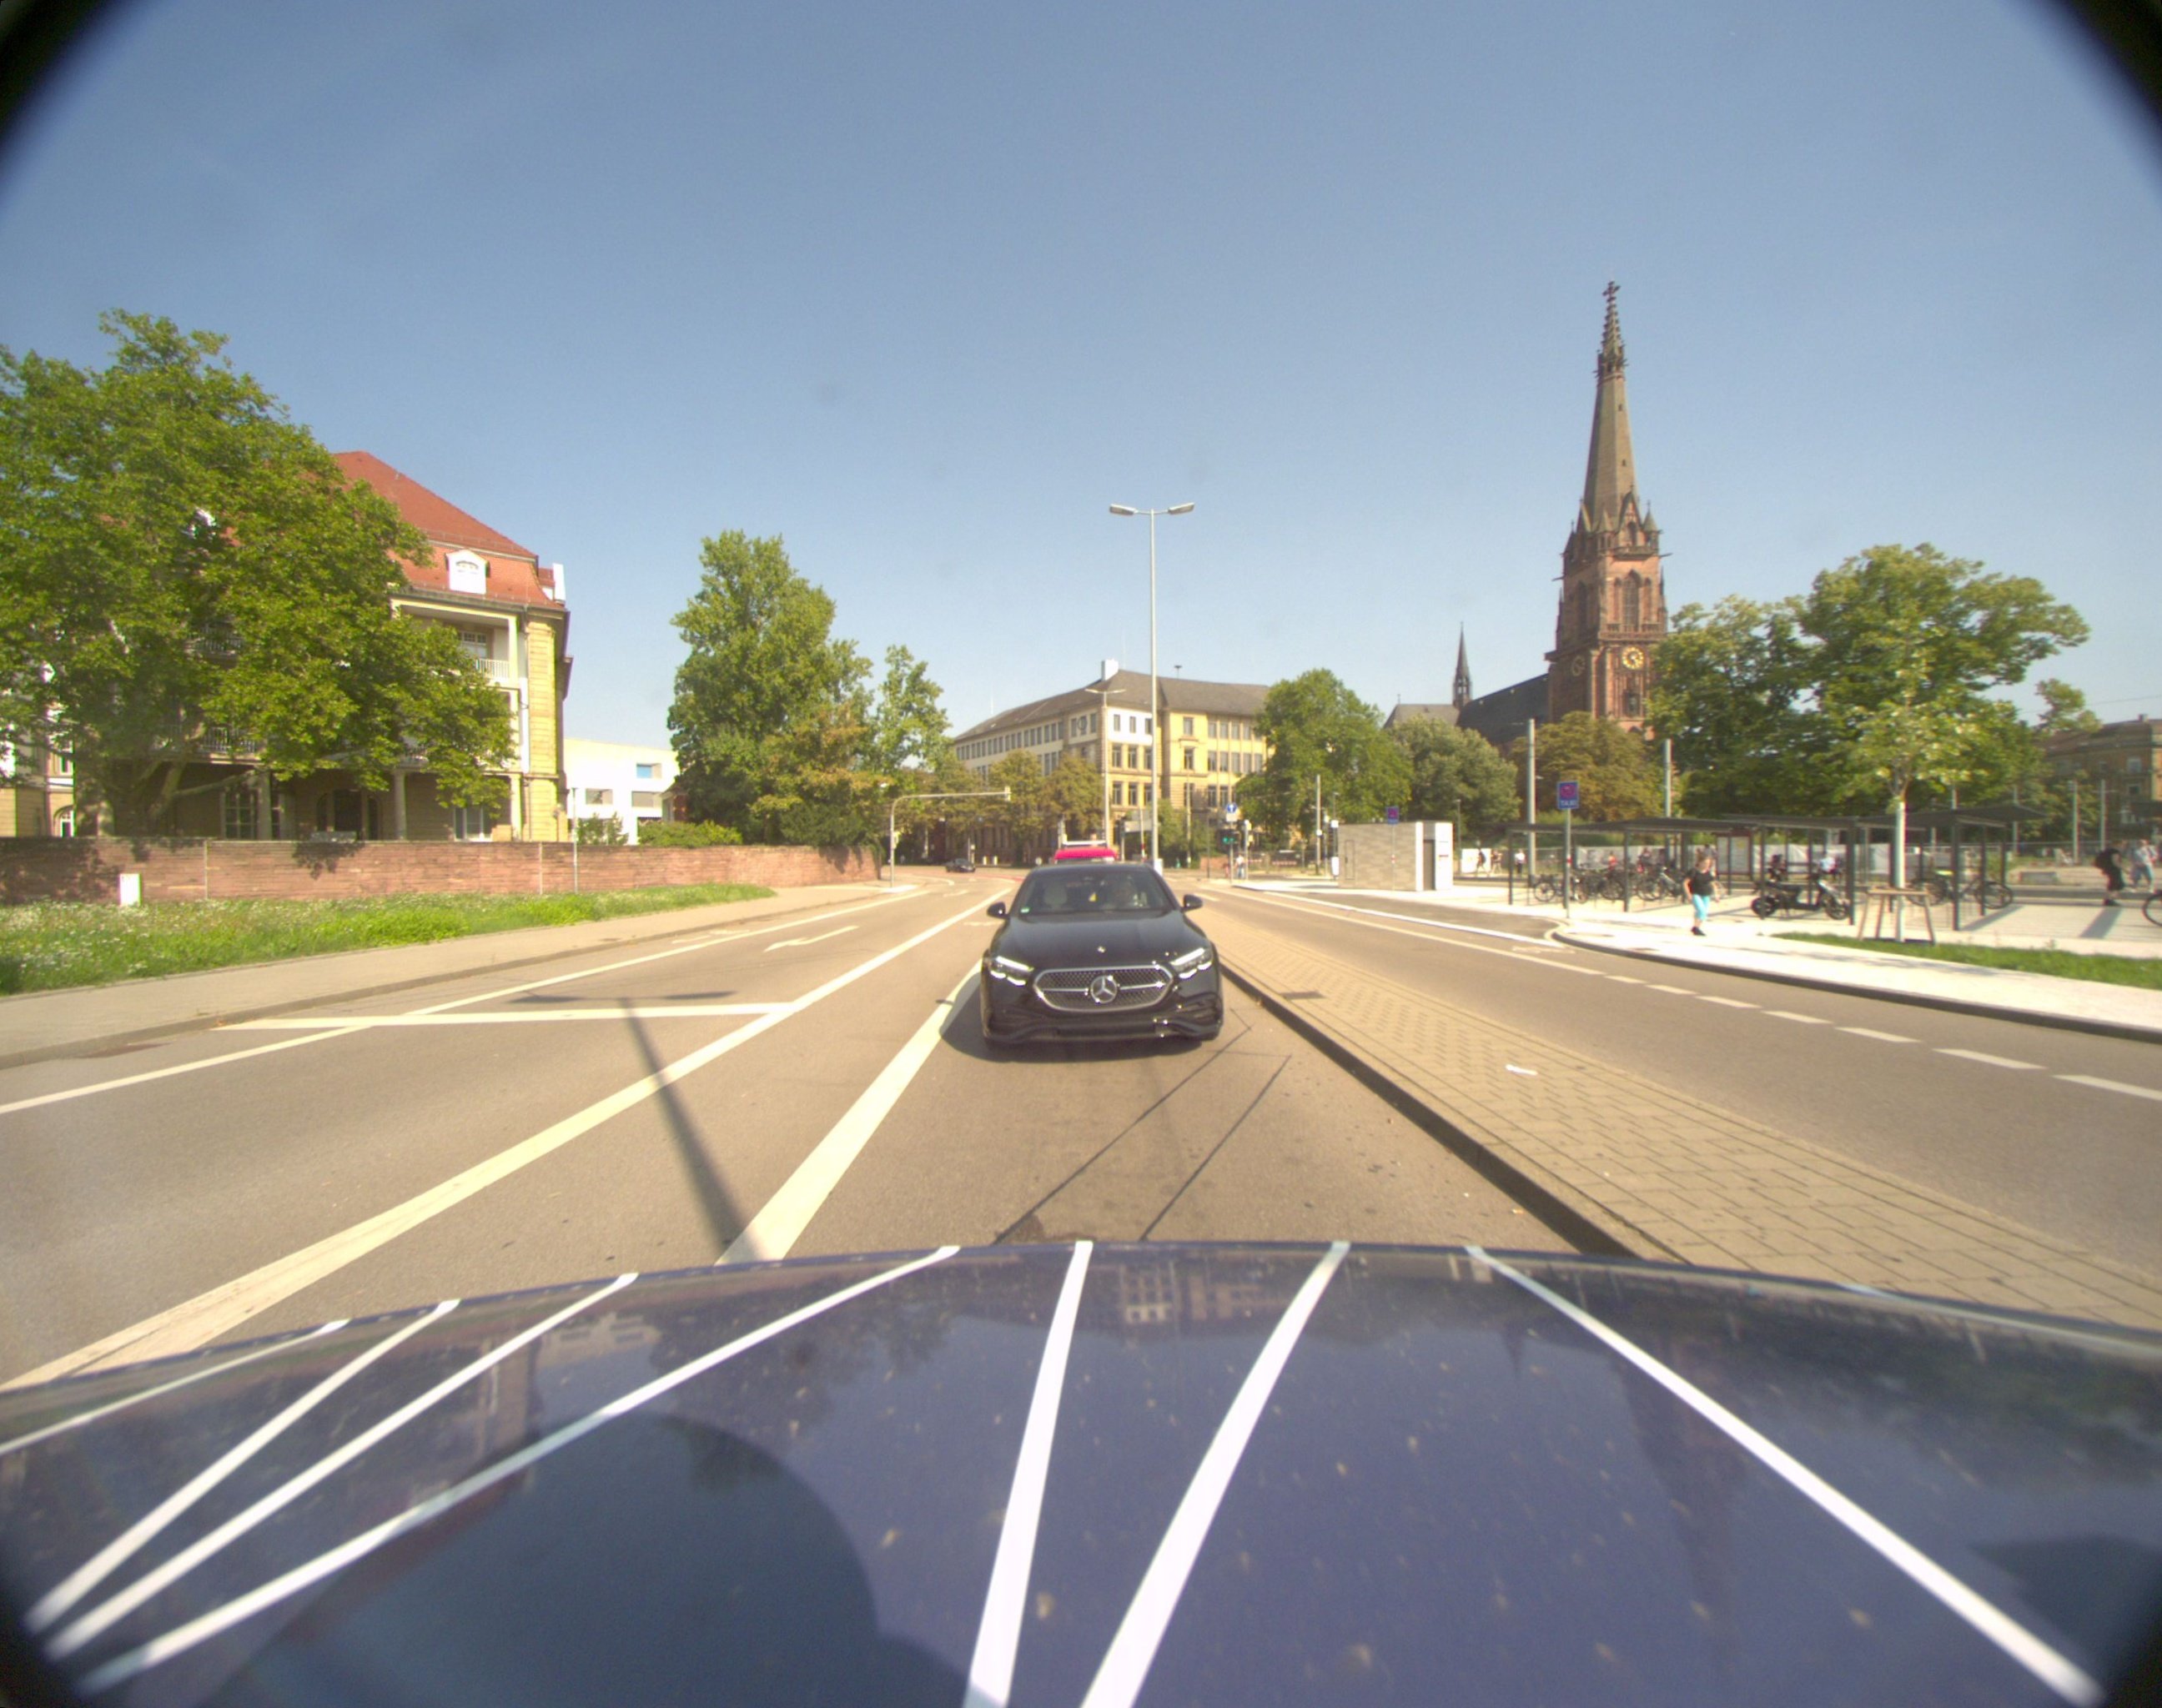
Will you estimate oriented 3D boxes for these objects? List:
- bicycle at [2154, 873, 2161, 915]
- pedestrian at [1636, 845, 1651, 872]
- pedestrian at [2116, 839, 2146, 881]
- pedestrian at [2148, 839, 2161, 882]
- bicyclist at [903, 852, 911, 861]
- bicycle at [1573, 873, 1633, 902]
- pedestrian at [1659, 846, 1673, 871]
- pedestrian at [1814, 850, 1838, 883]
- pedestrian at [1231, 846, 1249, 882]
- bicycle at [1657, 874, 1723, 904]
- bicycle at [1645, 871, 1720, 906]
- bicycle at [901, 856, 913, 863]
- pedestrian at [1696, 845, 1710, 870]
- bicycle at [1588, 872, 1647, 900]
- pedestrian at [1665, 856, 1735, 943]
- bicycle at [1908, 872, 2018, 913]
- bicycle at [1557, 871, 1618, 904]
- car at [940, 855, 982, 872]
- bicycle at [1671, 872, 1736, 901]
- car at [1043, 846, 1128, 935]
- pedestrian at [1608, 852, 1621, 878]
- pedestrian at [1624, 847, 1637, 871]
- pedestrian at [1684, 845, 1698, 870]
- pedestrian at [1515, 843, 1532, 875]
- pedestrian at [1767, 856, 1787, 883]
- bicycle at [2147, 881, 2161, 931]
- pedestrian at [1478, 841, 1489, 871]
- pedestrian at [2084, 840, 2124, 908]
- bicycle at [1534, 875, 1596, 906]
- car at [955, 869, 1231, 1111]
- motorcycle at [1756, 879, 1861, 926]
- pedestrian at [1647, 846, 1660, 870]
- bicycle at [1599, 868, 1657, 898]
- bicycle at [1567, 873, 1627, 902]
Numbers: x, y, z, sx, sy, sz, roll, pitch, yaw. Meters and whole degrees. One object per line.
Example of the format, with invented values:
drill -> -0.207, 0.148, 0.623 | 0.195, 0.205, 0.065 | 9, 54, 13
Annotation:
bicycle -> 26.999, 0.990, 18.035 | 0.402, 1.003, 1.741 | -1, 1, -34
pedestrian -> 28.085, 0.219, 37.944 | 0.440, 1.310, 0.434 | -3, 1, -33
pedestrian -> 36.536, 0.218, 26.441 | 0.470, 1.414, 0.567 | -3, 1, -33
pedestrian -> 36.287, 0.224, 25.537 | 0.570, 1.414, 0.468 | -3, 1, -33
bicyclist -> -25.969, 0.426, 113.336 | 0.922, 1.332, 0.668 | 0, 1, 38
bicycle -> 17.221, 1.092, 25.076 | 0.411, 0.887, 1.584 | -1, 1, -34
pedestrian -> 29.486, 0.213, 38.310 | 0.440, 1.217, 0.382 | -3, 1, -33
pedestrian -> 31.784, 0.514, 32.420 | 0.663, 1.387, 0.642 | -1, 1, -37
pedestrian -> 9.157, 0.558, 43.645 | 0.716, 2.002, 0.731 | -1, 1, -45
bicycle -> 19.156, 1.086, 23.932 | 0.411, 0.887, 1.584 | -1, 1, -34
bicycle -> 18.449, 1.047, 23.348 | 0.534, 0.981, 1.709 | -1, 1, -34
bicycle -> -25.989, 0.838, 113.370 | 2.081, 0.951, 0.668 | 0, 1, 38
pedestrian -> 30.533, 0.170, 37.315 | 0.440, 1.217, 0.382 | -3, 1, -33
bicycle -> 18.141, 1.071, 25.728 | 0.402, 0.887, 1.584 | -1, 1, -34
pedestrian -> 11.545, 0.832, 14.186 | 0.754, 1.556, 0.666 | 1, 1, -18
bicycle -> 23.555, 0.998, 20.335 | 0.462, 1.003, 1.870 | -1, 1, -34
bicycle -> 16.189, 1.061, 24.304 | 0.422, 0.962, 1.584 | -1, 1, -34
car -> -11.956, 0.940, 75.582 | 2.004, 1.600, 4.235 | -1, -1, -43
bicycle -> 20.316, 1.043, 24.822 | 0.411, 0.887, 1.584 | -1, 1, -34
car -> 0.127, 0.735, 17.794 | 1.736, 1.809, 4.277 | 0, 1, 1
pedestrian -> 27.798, 0.568, 39.605 | 0.394, 1.310, 0.414 | -3, 1, -30
pedestrian -> 28.369, 0.253, 39.213 | 0.440, 1.217, 0.382 | -3, 1, -33
pedestrian -> 30.210, 0.182, 37.629 | 0.440, 1.217, 0.382 | -3, 1, -33
pedestrian -> 24.713, 0.277, 42.444 | 0.716, 1.738, 0.389 | 0, 1, -2
pedestrian -> 30.923, 0.670, 33.763 | 0.468, 1.190, 0.572 | -1, 1, -33
bicycle -> 22.694, 1.067, 15.093 | 0.402, 1.003, 1.741 | -1, 1, -34
pedestrian -> 22.871, 0.128, 43.160 | 0.517, 1.697, 0.504 | 0, 2, 24
pedestrian -> 27.270, 0.523, 20.263 | 0.334, 1.791, 0.591 | -1, 1, -39
bicycle -> 15.058, 1.127, 23.675 | 0.402, 0.887, 1.584 | -1, 1, -34
car -> 0.136, 0.958, 7.480 | 1.824, 1.432, 4.873 | 0, 1, 1
motorcycle -> 17.462, 1.135, 18.284 | 0.544, 1.003, 1.741 | -1, 1, -34
pedestrian -> 29.306, 0.210, 38.918 | 0.440, 1.217, 0.382 | -3, 1, -33
bicycle -> 19.076, 1.001, 26.514 | 0.453, 0.972, 1.584 | -3, 2, -34
bicycle -> 16.781, 1.069, 24.734 | 0.402, 0.887, 1.584 | -1, 1, -34
